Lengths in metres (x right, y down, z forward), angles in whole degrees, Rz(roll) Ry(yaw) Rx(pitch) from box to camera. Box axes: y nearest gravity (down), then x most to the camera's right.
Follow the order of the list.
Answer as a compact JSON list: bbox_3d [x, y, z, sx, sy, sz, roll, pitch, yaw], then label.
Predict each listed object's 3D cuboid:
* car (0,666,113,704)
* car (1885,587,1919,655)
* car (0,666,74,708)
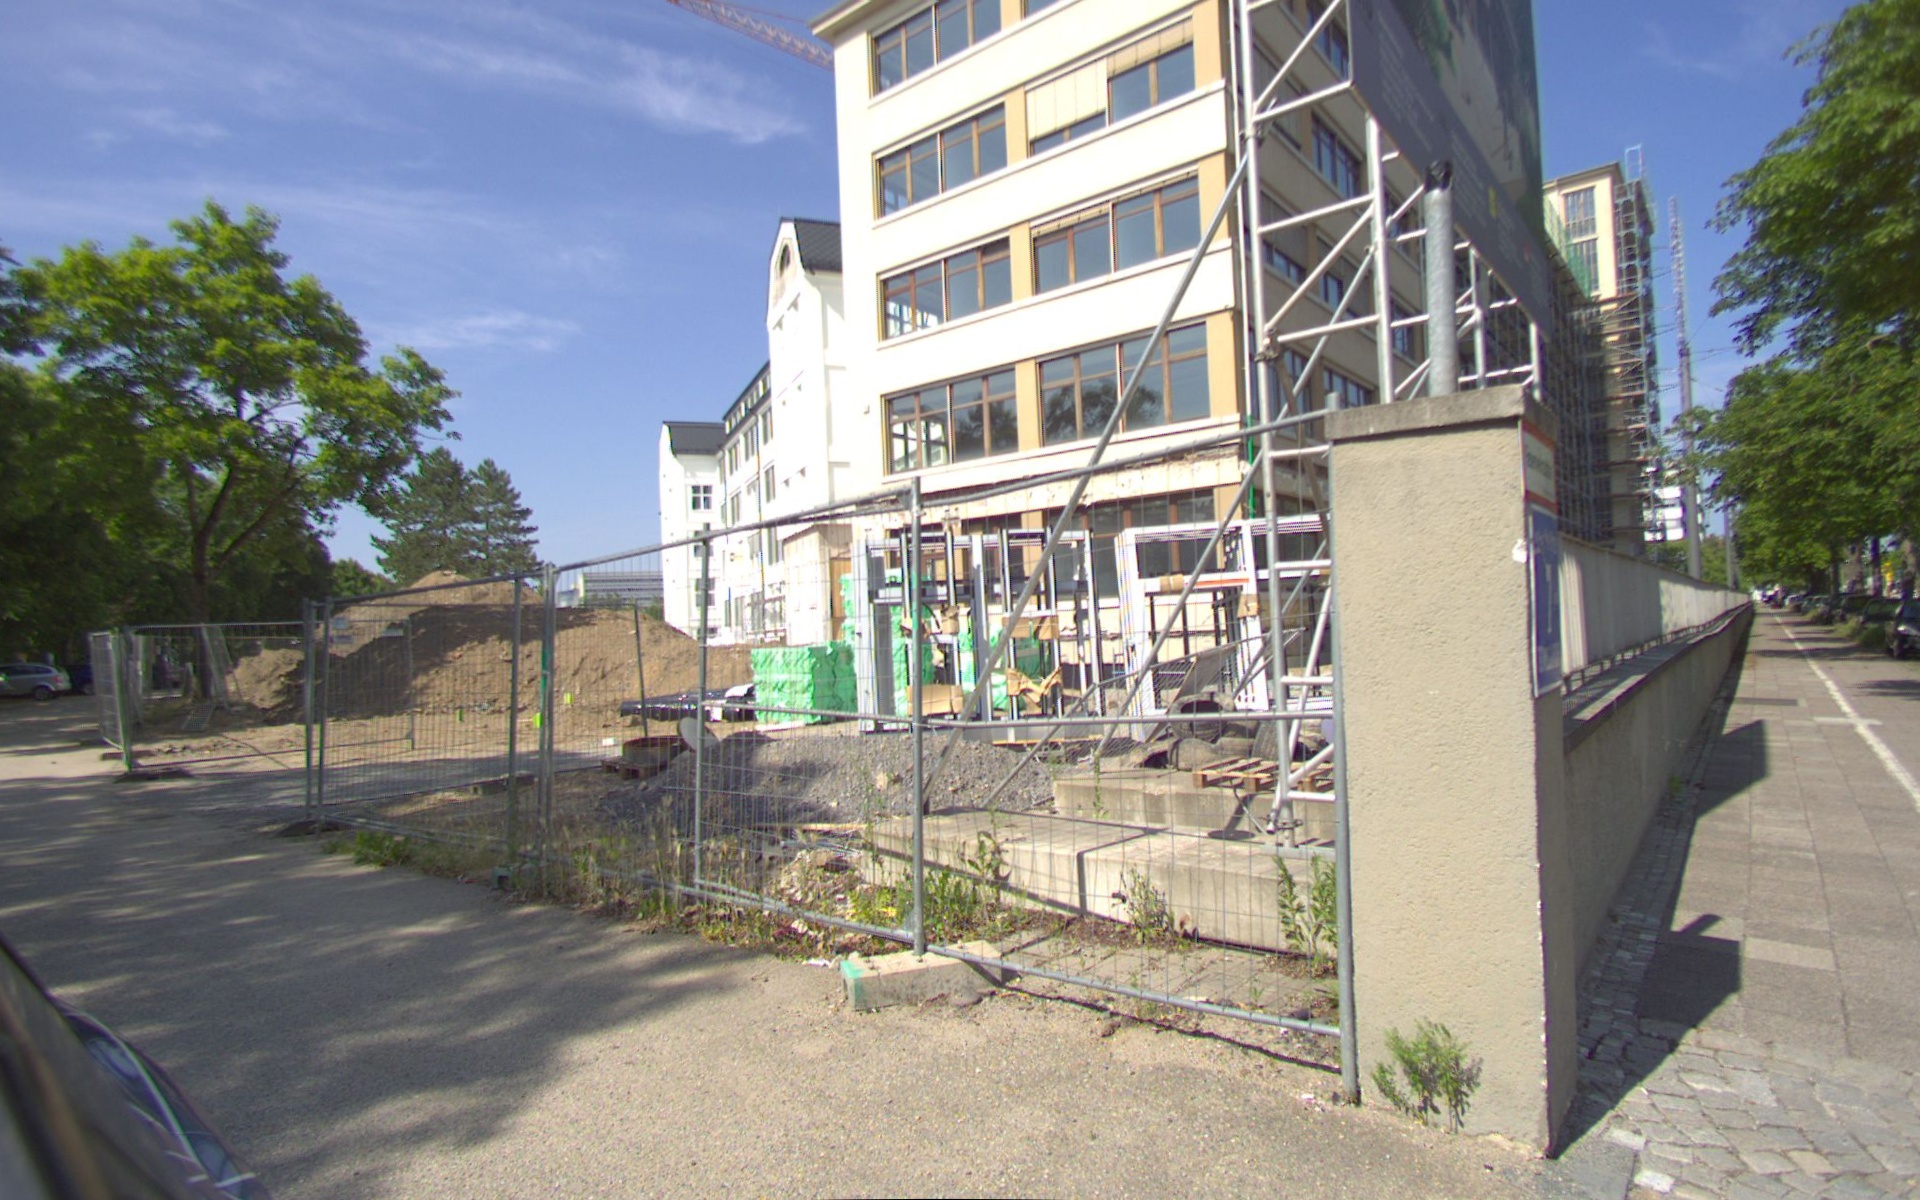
[{"bbox_3d":[-40.664,3.795,45.296,3.932,1.453,2.006,-1,-2,-31],"label":"car"},{"bbox_3d":[22.668,0.424,23.178,1.819,1.464,3.949,-4,-2,38],"label":"car"},{"bbox_3d":[-38.243,3.516,40.474,3.932,1.519,2.006,-1,-2,-31],"label":"car"}]
